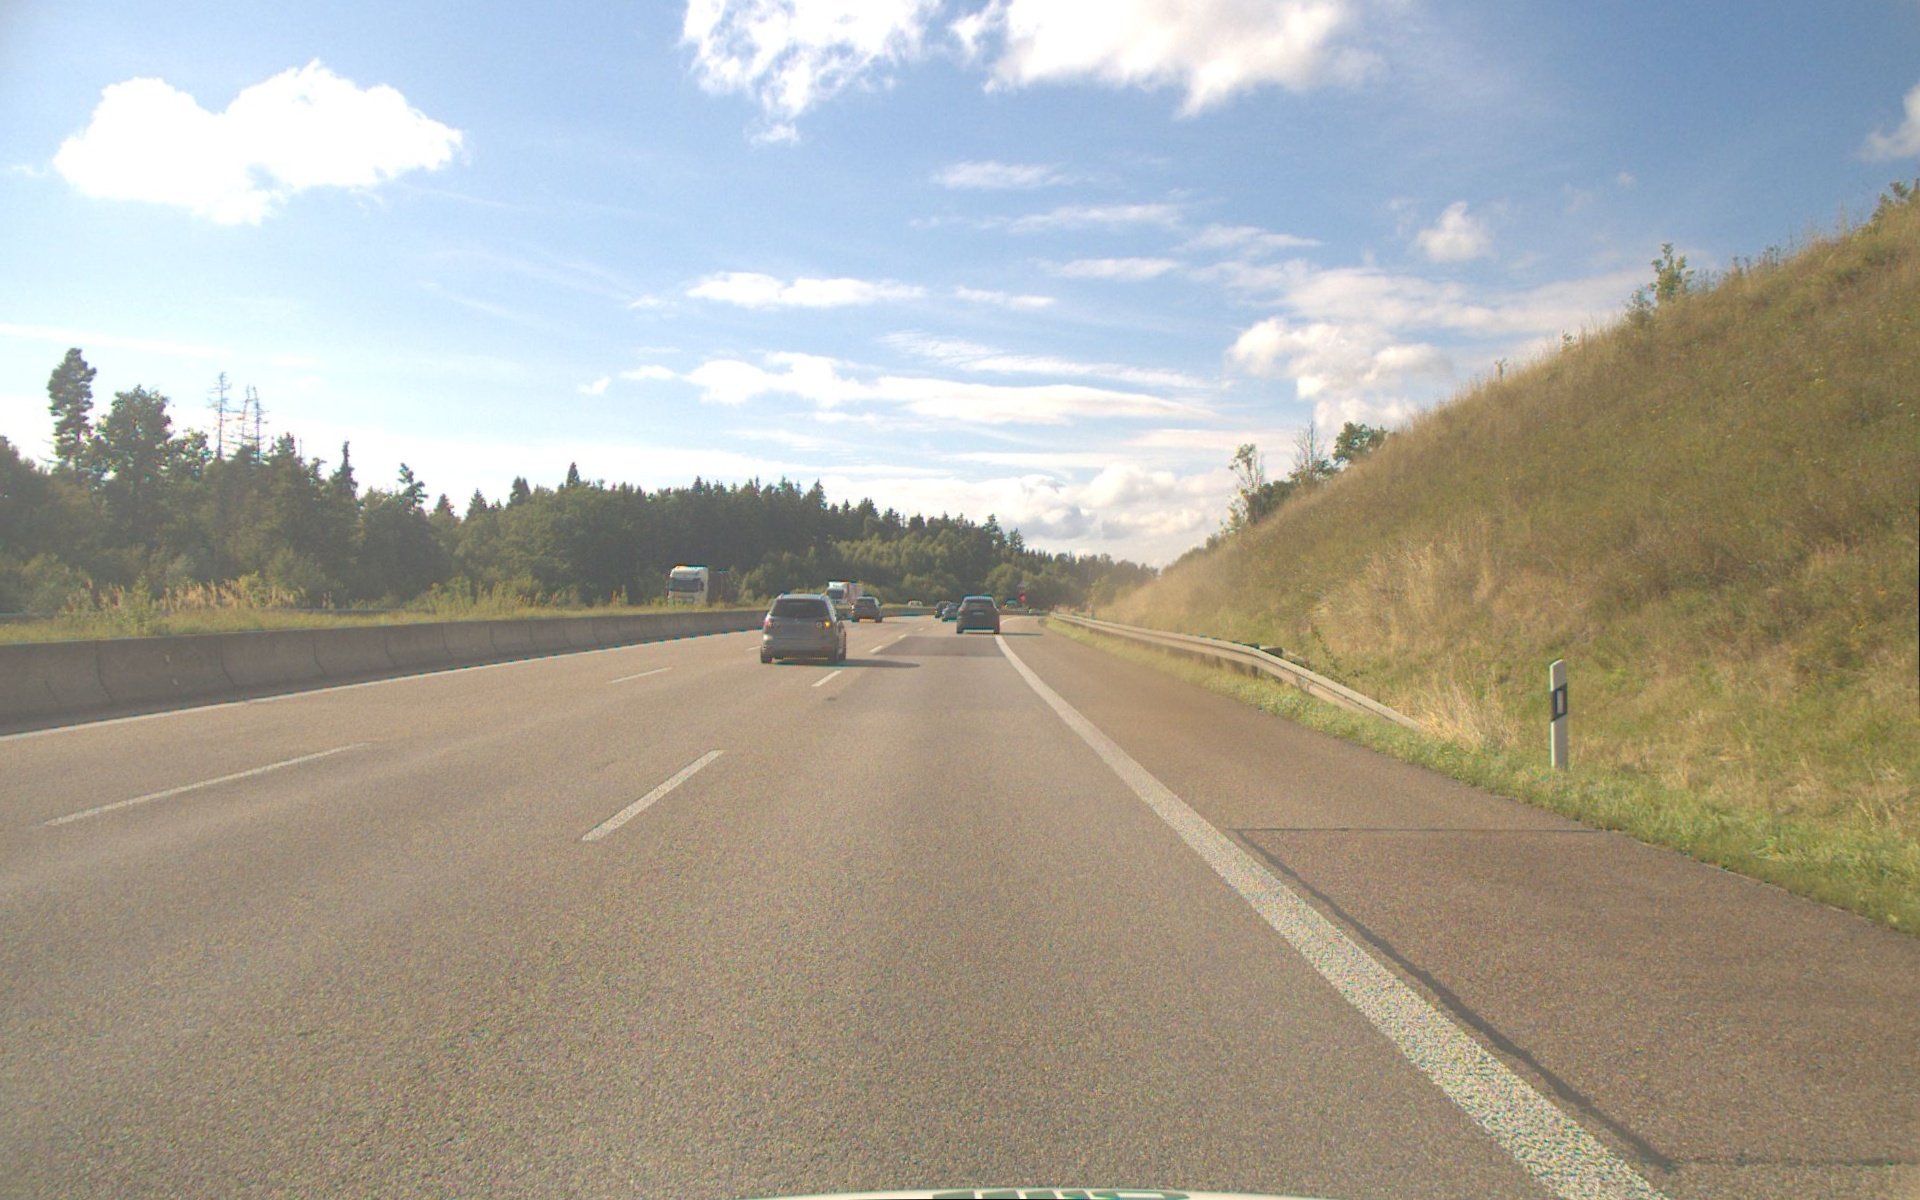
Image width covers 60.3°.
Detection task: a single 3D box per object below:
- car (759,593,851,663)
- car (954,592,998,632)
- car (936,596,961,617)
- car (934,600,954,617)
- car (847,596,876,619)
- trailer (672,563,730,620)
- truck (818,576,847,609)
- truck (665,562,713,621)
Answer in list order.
[{"bbox_3d":[-3.535,0.617,38.320,1.836,1.523,3.879,1,0,-1],"label":"car"},{"bbox_3d":[0.695,0.519,73.611,1.836,1.704,3.889,1,0,-1],"label":"car"},{"bbox_3d":[-0.852,0.465,123.429,1.835,1.523,3.879,1,0,-1],"label":"car"},{"bbox_3d":[-1.484,0.780,155.743,1.835,1.523,3.880,1,0,0],"label":"car"},{"bbox_3d":[-6.590,0.473,110.784,1.836,1.523,3.878,1,0,-2],"label":"car"},{"bbox_3d":[-21.091,-0.647,135.482,2.745,4.469,12.050,0,0,0],"label":"trailer"},{"bbox_3d":[-16.281,-0.959,211.133,2.961,4.180,5.670,0,0,2],"label":"truck"},{"bbox_3d":[-21.138,-0.630,129.126,2.745,4.469,5.464,0,0,0],"label":"truck"}]
